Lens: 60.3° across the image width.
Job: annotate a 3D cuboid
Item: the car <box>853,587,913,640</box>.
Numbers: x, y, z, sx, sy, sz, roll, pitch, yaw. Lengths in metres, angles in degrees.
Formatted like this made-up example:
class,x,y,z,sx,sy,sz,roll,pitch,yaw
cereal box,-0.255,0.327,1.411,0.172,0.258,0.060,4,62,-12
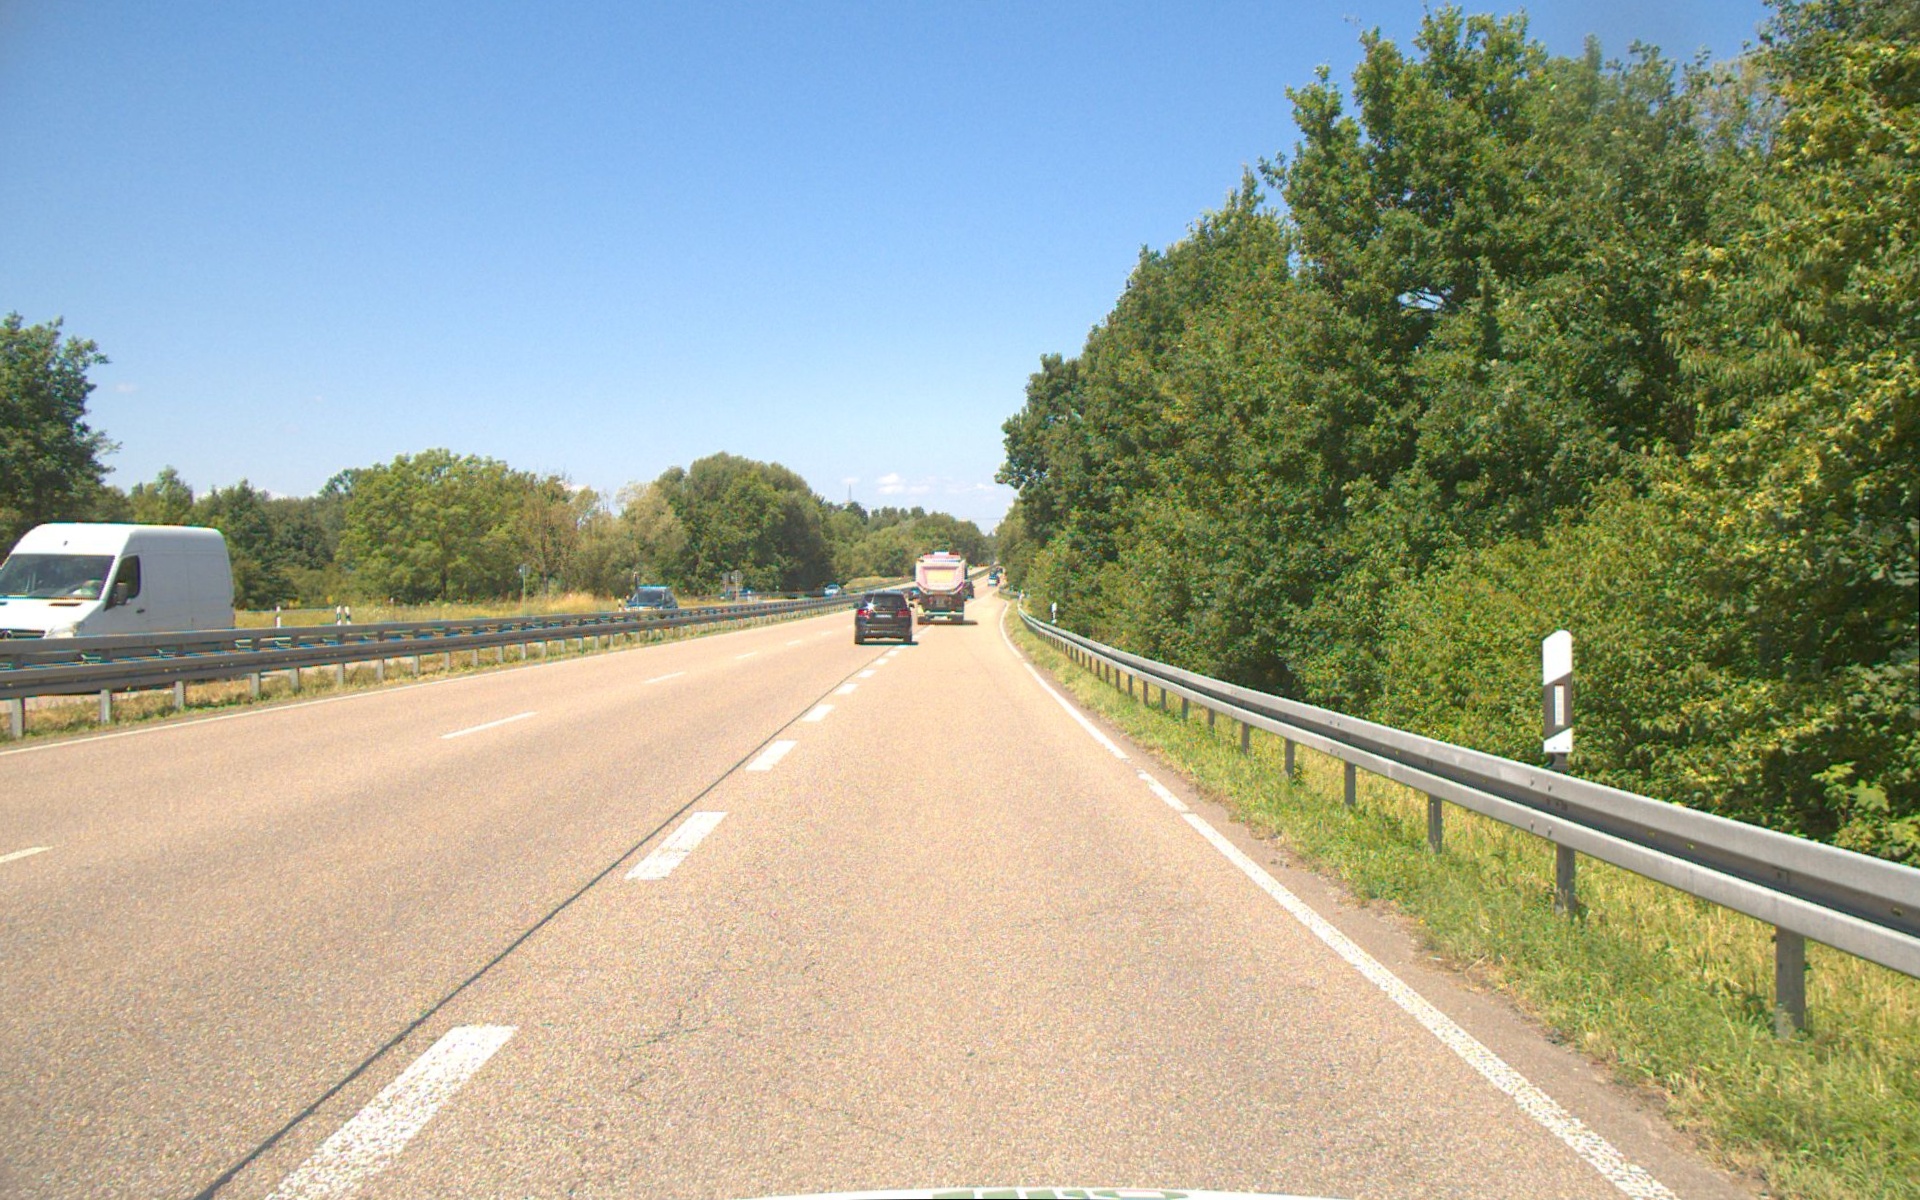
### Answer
class,x,y,z,sx,sy,sz,roll,pitch,yaw
car,-2.528,0.439,55.088,1.819,1.700,4.000,0,0,0

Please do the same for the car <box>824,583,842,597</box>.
class,x,y,z,sx,sy,sz,roll,pitch,yaw
car,-15.594,-1.291,202.838,1.688,1.673,4.944,0,1,2

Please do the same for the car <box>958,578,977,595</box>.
class,x,y,z,sx,sy,sz,roll,pitch,yaw
car,0.746,-1.318,166.415,1.819,1.700,4.001,0,0,2

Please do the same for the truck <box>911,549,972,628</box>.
class,x,y,z,sx,sy,sz,roll,pitch,yaw
truck,-0.880,-0.759,89.205,2.663,3.998,12.376,0,2,2

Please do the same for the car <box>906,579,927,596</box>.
class,x,y,z,sx,sy,sz,roll,pitch,yaw
car,-4.271,-1.223,163.260,1.819,1.700,4.001,0,0,2

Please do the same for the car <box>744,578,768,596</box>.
class,x,y,z,sx,sy,sz,roll,pitch,yaw
car,-18.058,-1.139,146.356,1.880,1.515,3.997,0,0,-3

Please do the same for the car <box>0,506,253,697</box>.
class,x,y,z,sx,sy,sz,roll,pitch,yaw
car,-13.961,0.018,26.951,2.059,2.730,6.627,0,0,0

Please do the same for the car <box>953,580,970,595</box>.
class,x,y,z,sx,sy,sz,roll,pitch,yaw
car,0.175,-1.375,183.249,1.819,1.700,4.001,0,0,2

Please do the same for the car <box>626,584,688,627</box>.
class,x,y,z,sx,sy,sz,roll,pitch,yaw
car,-13.312,0.233,72.875,1.824,1.862,4.660,0,0,1
